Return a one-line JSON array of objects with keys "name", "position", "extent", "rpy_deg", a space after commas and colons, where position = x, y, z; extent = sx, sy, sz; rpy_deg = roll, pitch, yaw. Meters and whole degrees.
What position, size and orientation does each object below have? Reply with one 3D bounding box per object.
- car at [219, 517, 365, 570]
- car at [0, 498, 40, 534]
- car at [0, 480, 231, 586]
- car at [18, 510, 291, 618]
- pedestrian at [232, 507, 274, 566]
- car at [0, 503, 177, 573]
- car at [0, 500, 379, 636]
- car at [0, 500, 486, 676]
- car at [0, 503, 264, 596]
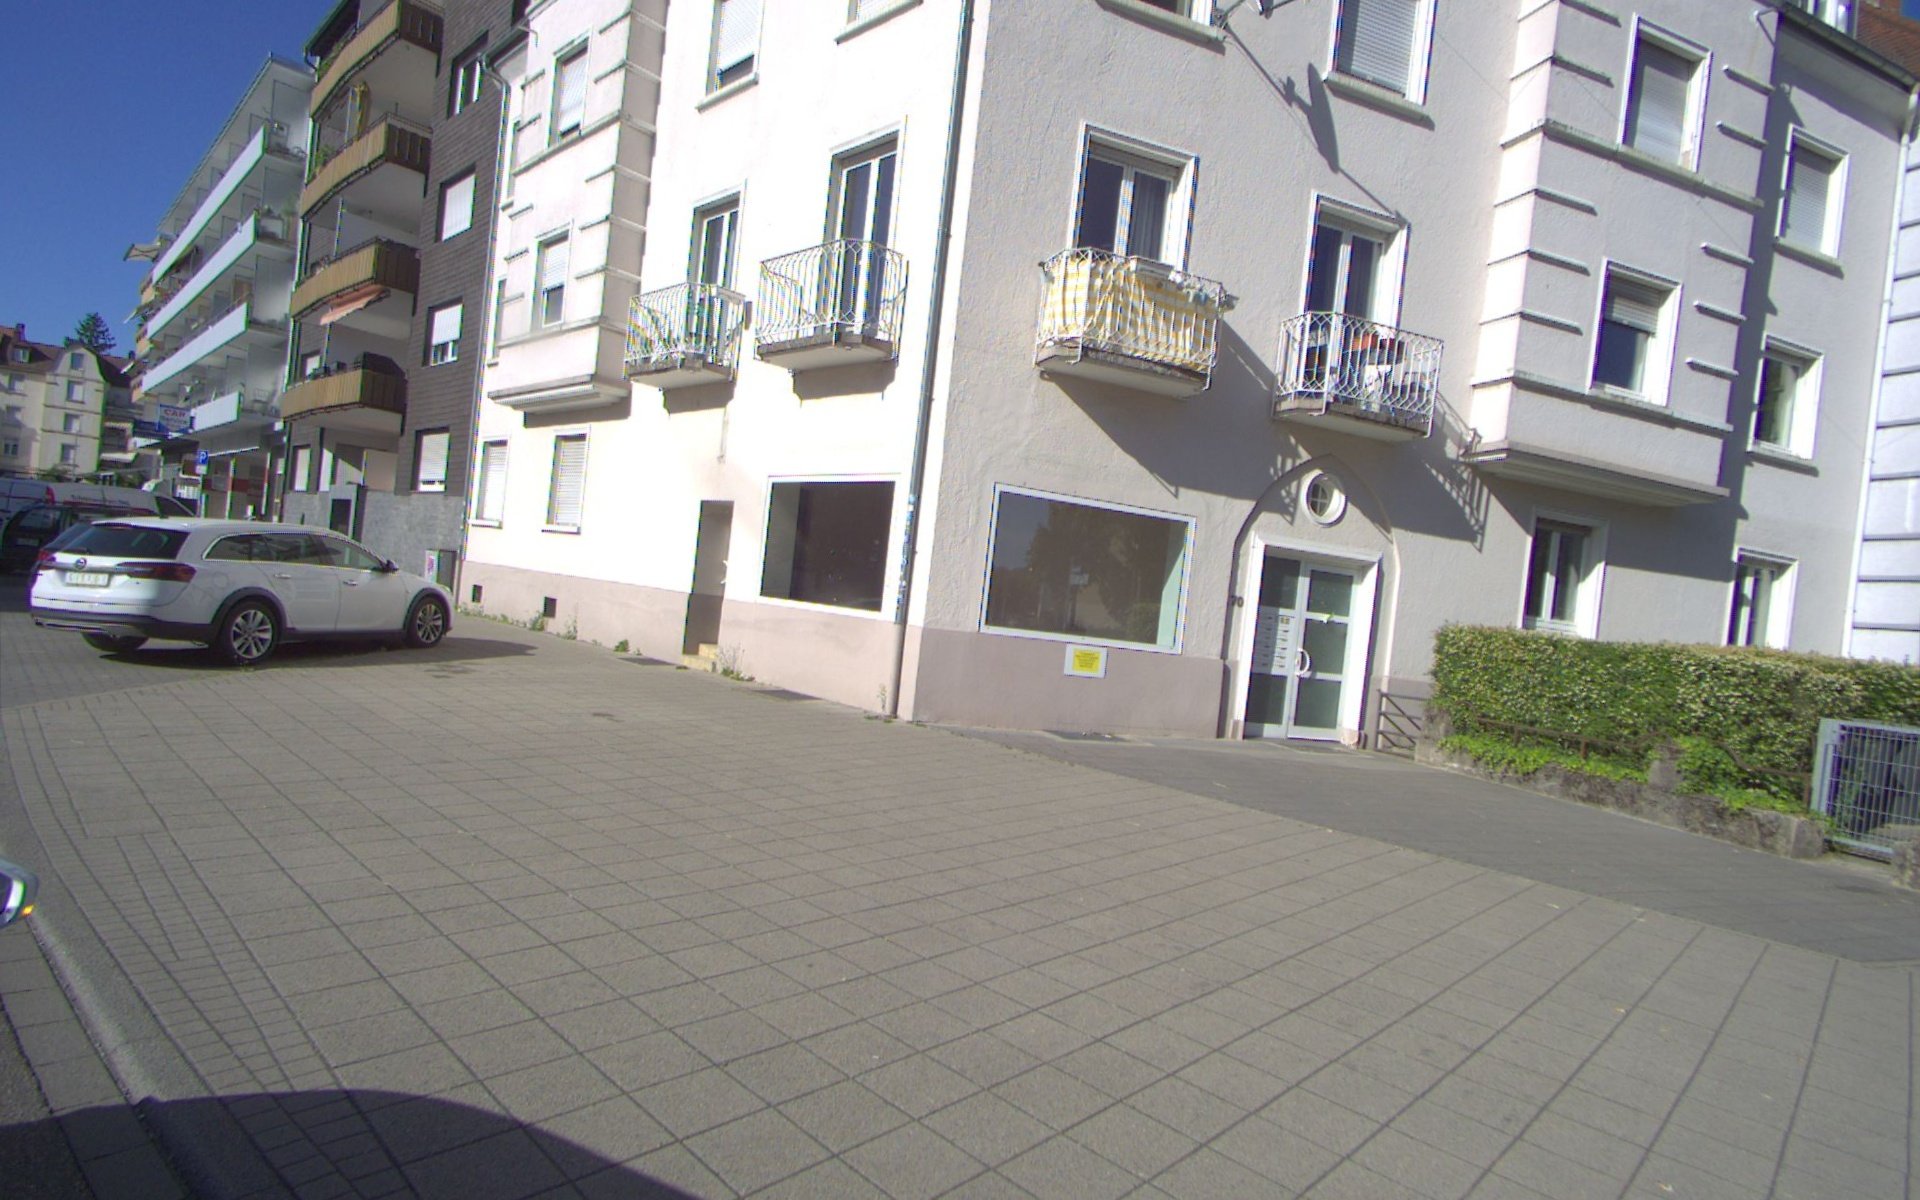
[{"name": "car", "position": [-26.075, -2.193, 39.358], "extent": [1.954, 1.531, 4.379], "rpy_deg": [5, 0, 44]}, {"name": "car", "position": [-43.386, -3.847, 45.582], "extent": [1.961, 1.468, 4.952], "rpy_deg": [7, -1, -37]}, {"name": "car", "position": [-18.325, -1.352, 21.445], "extent": [2.011, 1.923, 4.529], "rpy_deg": [4, 1, 4]}, {"name": "car", "position": [-13.123, -0.506, 16.669], "extent": [1.511, 1.405, 3.399], "rpy_deg": [7, -1, 4]}, {"name": "pedestrian", "position": [-20.737, -1.846, 29.489], "extent": [0.829, 1.614, 0.879], "rpy_deg": [5, 1, -41]}, {"name": "car", "position": [-23.430, -1.607, 26.581], "extent": [1.659, 1.484, 4.647], "rpy_deg": [5, 0, 2]}, {"name": "car", "position": [-10.727, -0.333, 14.408], "extent": [1.788, 1.515, 4.175], "rpy_deg": [5, -1, 10]}, {"name": "car", "position": [-8.115, -0.156, 11.977], "extent": [1.935, 1.483, 4.871], "rpy_deg": [7, 2, 9]}, {"name": "car", "position": [-15.777, -0.894, 19.247], "extent": [1.586, 1.509, 3.996], "rpy_deg": [4, 1, 13]}]
